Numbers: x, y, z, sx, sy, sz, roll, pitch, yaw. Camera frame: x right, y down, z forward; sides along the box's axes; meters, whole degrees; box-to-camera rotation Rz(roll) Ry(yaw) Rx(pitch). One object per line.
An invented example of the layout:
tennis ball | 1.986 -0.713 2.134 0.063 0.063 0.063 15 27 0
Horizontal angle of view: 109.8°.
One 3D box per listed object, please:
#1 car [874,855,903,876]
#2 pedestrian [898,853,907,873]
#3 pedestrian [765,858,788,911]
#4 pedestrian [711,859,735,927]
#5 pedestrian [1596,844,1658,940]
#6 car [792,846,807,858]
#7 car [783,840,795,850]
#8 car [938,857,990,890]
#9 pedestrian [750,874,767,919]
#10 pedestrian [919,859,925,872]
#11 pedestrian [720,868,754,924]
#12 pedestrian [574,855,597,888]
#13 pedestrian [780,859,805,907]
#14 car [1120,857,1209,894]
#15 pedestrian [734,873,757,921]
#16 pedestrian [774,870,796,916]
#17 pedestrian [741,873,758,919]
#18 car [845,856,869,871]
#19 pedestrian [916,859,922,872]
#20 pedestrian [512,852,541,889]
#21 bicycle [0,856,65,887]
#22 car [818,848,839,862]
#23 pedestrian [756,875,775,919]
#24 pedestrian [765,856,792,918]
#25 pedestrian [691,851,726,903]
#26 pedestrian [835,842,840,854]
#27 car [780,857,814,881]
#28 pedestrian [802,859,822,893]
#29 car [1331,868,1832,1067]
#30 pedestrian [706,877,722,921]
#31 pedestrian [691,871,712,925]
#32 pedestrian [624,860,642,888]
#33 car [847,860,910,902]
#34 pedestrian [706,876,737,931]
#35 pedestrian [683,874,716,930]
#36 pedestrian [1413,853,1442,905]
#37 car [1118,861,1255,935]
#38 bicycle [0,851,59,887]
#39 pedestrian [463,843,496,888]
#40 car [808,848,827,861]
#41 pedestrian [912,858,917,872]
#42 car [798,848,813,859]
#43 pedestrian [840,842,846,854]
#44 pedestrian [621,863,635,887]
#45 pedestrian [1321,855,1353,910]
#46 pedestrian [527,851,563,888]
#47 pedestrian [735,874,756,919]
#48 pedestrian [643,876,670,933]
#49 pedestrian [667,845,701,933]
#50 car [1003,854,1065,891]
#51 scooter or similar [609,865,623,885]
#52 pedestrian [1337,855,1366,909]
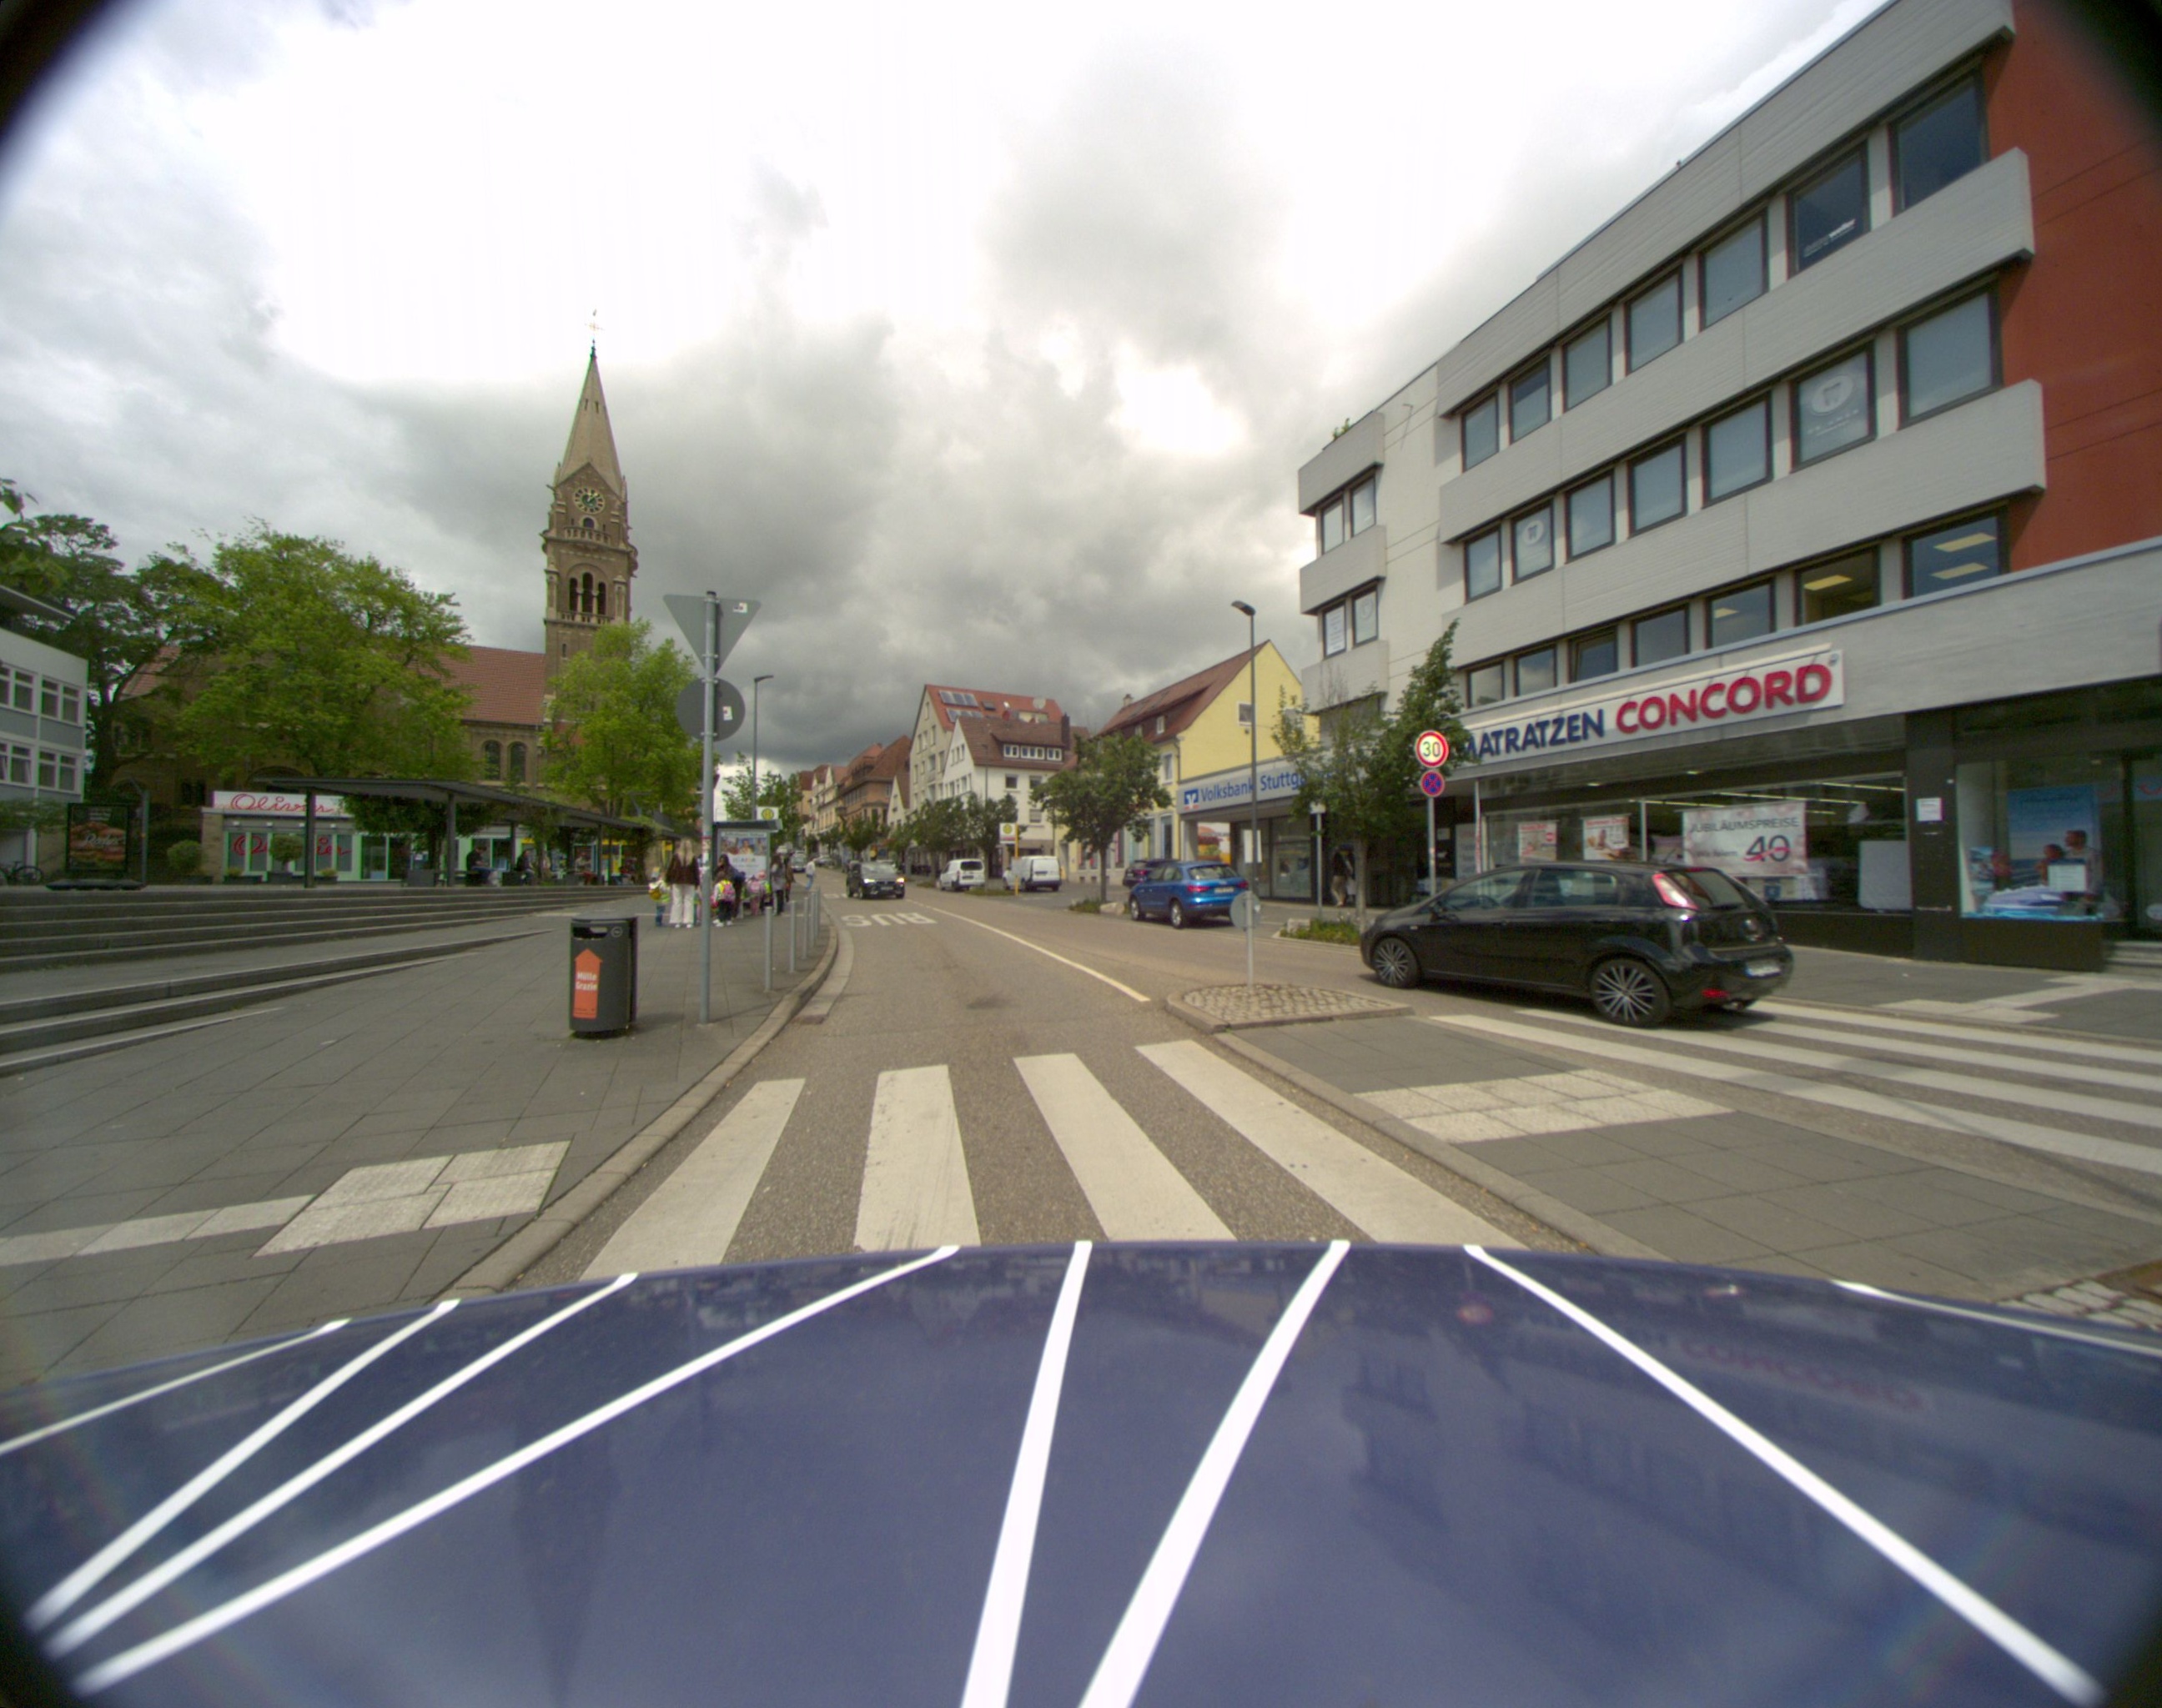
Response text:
car | -16.122 0.940 63.604 1.673 1.637 4.125 -1 1 -24
pedestrian | -16.130 0.821 68.697 0.663 1.751 0.776 0 2 -27
pedestrian | -9.134 0.896 22.782 0.502 1.556 0.496 1 0 -40
pedestrian | -8.165 0.886 17.343 0.391 1.508 0.389 2 0 -35
pedestrian | 9.274 0.627 12.915 0.589 1.579 0.637 -1 1 -24
car | -43.753 -0.355 118.083 1.736 1.670 3.982 0 2 -27
car | -51.444 -1.598 133.803 1.694 1.516 3.520 1 2 -27
car | -6.418 0.989 41.333 1.664 1.662 4.341 -1 1 -25
pedestrian | -8.363 1.099 19.695 0.270 1.154 0.265 2 -1 27
pedestrian | -14.977 1.084 71.710 0.429 1.242 0.565 -1 1 -26
pedestrian | -8.282 0.998 18.292 0.597 1.296 0.434 3 0 35
pedestrian | -19.881 0.696 30.503 0.626 1.299 0.545 1 -1 -17
pedestrian | -9.476 0.935 24.967 0.542 1.540 0.487 1 0 23
car | 3.791 0.935 34.541 3.643 1.549 1.665 -1 0 -23
pedestrian | -8.260 1.059 18.726 0.350 1.160 0.337 3 0 38
pedestrian | -8.003 1.050 20.550 0.404 1.219 0.388 1 0 1
pedestrian | -8.484 1.063 19.438 0.250 1.167 0.253 2 -1 27
car | -22.889 0.947 77.463 1.664 1.384 4.433 0 2 -26
pedestrian | -15.581 1.082 73.045 0.397 1.242 0.499 -1 1 -26
pedestrian | -18.642 0.548 25.556 0.569 1.220 0.566 -1 0 -12
bicycle | -40.565 0.661 29.018 0.686 1.135 2.032 0 -3 36
car | -30.882 0.102 92.826 1.733 1.564 4.443 0 2 -29
pedestrian | -8.320 1.127 20.017 0.297 1.145 0.294 2 -1 22
pedestrian | -7.929 0.861 19.928 0.387 1.610 0.470 2 -1 27
pedestrian | -11.871 0.720 24.248 0.800 1.628 0.686 1 0 -7
pedestrian | -32.063 -0.796 100.159 0.498 1.469 0.527 0 2 -29
car | -22.384 1.135 59.774 1.938 1.714 4.563 2 0 -27
pedestrian | -13.457 1.085 38.073 0.686 1.672 0.714 1 0 5
car | 4.791 0.902 8.008 1.706 1.411 4.110 -1 1 -26
pedestrian | -9.028 1.108 18.701 0.251 1.062 0.252 2 -1 -10
pedestrian | -8.722 1.004 17.459 0.324 1.230 0.334 3 -1 -17
pedestrian | -20.770 0.929 35.254 0.570 1.254 0.541 1 -2 -17
car | -8.878 1.120 33.162 1.898 1.516 3.726 -1 3 -27
pedestrian | -7.793 1.071 16.483 0.477 1.165 0.389 3 -1 -40
pedestrian | -8.349 1.038 16.632 0.390 1.191 0.511 2 0 4
pedestrian | 11.469 0.837 25.138 0.646 1.694 0.585 1 -2 -31
car | 2.579 1.024 19.677 1.701 1.590 4.324 -3 1 -19
bicycle | -39.569 0.542 28.113 0.686 1.299 2.032 0 -2 36
pedestrian | -17.881 0.324 22.584 0.569 1.316 0.545 -1 0 -12
car | -34.439 0.022 99.285 1.672 1.518 3.953 -2 3 -29
pedestrian | -15.607 1.045 71.225 0.423 1.292 0.453 -1 1 -26
car | -40.473 -0.088 111.512 1.736 1.423 3.494 0 2 -27
pedestrian | -31.427 -0.823 100.396 0.616 1.573 0.640 0 2 -29
pedestrian | -20.650 0.970 34.633 0.478 1.082 0.368 1 -2 -17
pedestrian | 7.409 0.822 21.998 0.645 1.557 0.586 1 0 -9
pedestrian | -18.659 0.522 26.454 0.769 1.261 0.677 0 0 21
pedestrian | -8.731 1.099 19.770 0.321 1.145 0.319 2 -1 30
pedestrian | -8.758 1.040 15.683 0.441 1.141 0.382 2 0 -32
pedestrian | -8.333 0.734 15.959 0.542 1.812 0.434 2 0 -31
car | -2.528 0.909 39.643 1.764 1.803 4.467 -2 1 -24
scooter or similar | -20.837 0.952 34.043 0.249 0.888 0.508 0 -2 9
pedestrian | 7.940 0.830 22.320 0.512 1.557 0.585 1 0 -20
